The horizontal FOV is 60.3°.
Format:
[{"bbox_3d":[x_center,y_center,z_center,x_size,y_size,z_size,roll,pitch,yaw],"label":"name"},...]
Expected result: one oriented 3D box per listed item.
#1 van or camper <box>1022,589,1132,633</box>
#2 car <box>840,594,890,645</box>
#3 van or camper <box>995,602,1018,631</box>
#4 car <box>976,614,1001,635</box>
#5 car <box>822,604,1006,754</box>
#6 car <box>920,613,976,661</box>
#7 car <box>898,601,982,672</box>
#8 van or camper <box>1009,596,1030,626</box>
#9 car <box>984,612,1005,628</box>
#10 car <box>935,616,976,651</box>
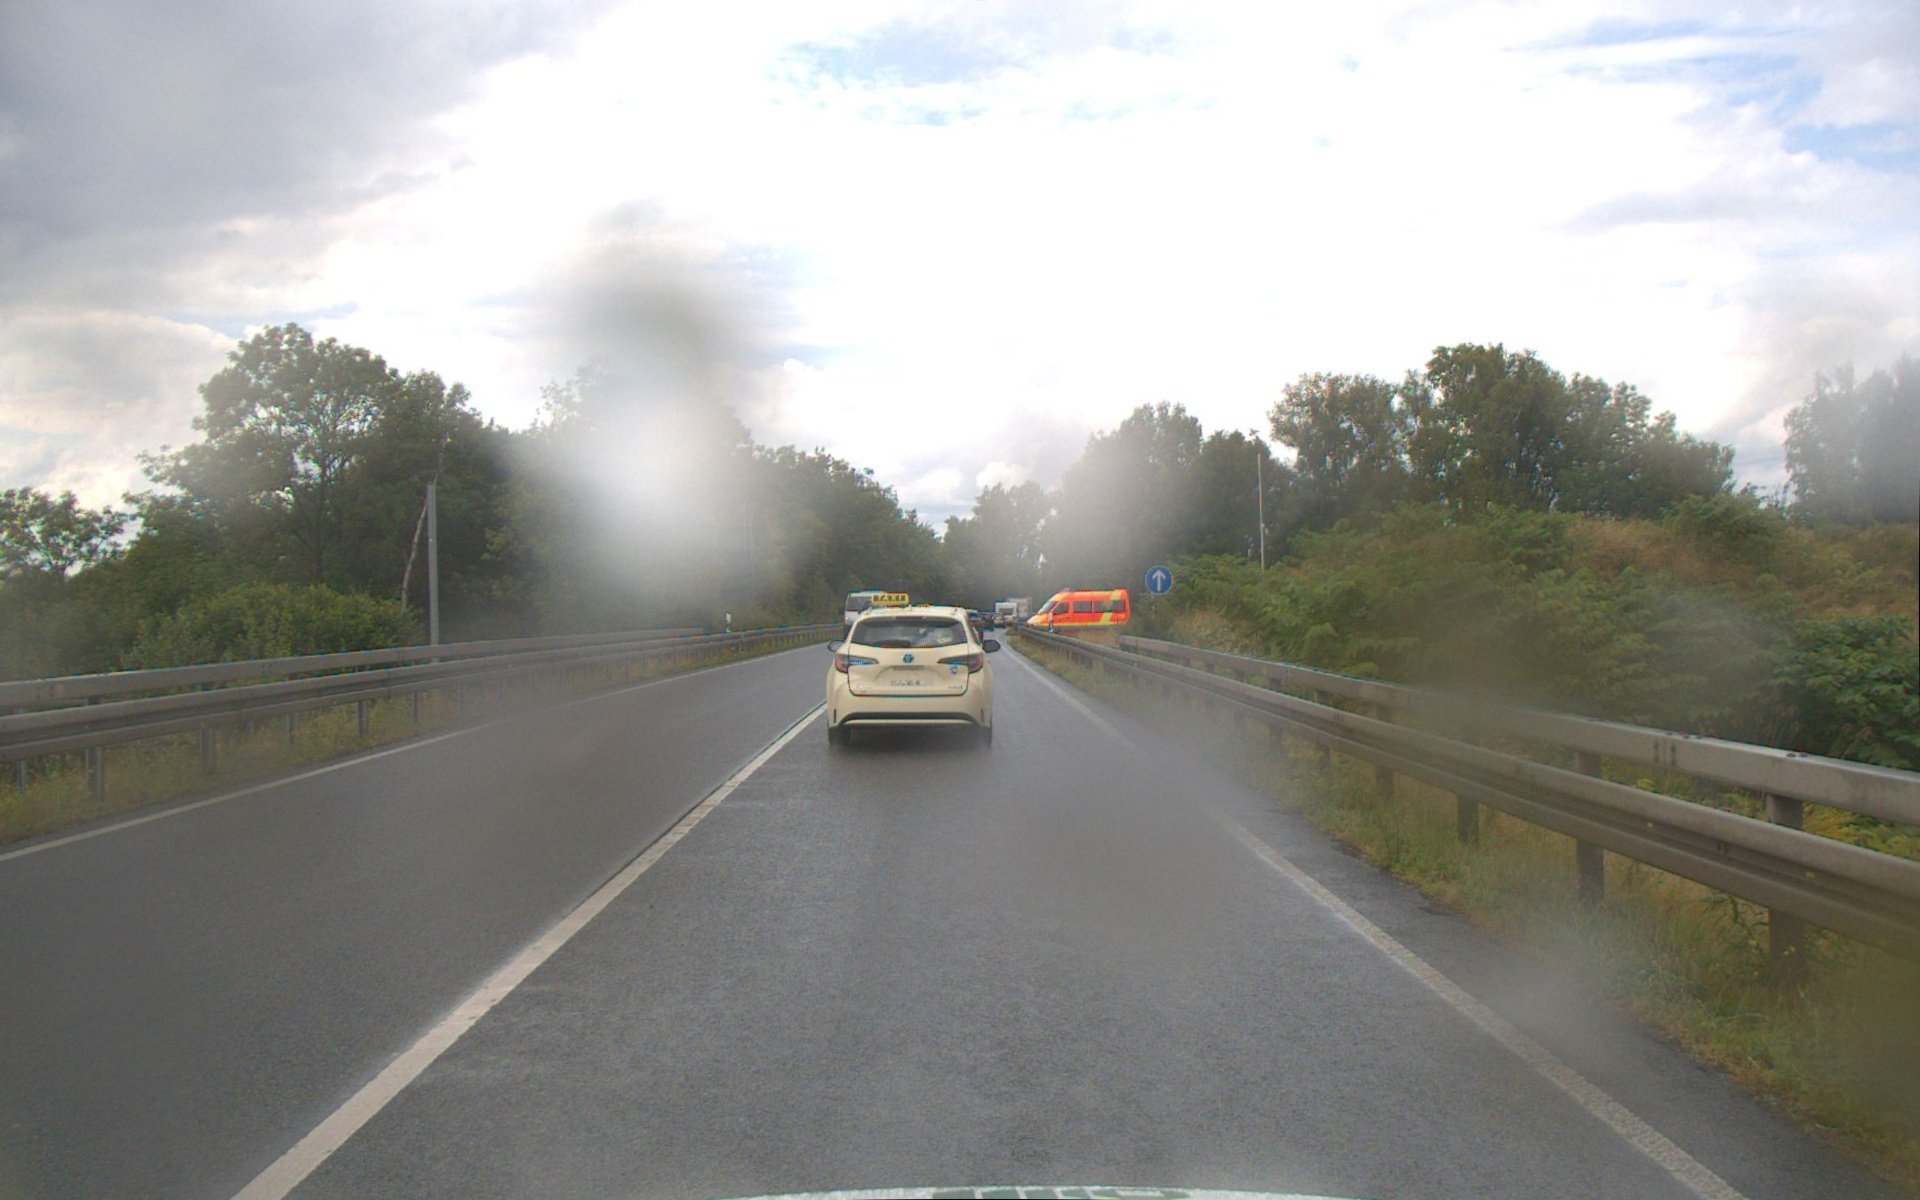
[{"bbox_3d":[6.271,0.576,88.863,5.586,2.281,2.011,0,0,-16],"label":"van or camper"},{"bbox_3d":[-4.156,0.814,72.828,1.953,2.165,4.894,0,0,0],"label":"car"},{"bbox_3d":[4.894,1.691,174.802,2.285,2.914,6.306,0,0,0],"label":"van or camper"},{"bbox_3d":[2.167,1.847,126.319,1.816,1.468,4.172,0,0,2],"label":"car"},{"bbox_3d":[-0.510,0.792,18.485,1.817,1.418,4.170,0,1,-2],"label":"car"},{"bbox_3d":[-0.447,1.244,56.674,1.817,1.468,4.170,0,1,-2],"label":"car"},{"bbox_3d":[-0.486,0.790,37.783,1.817,1.468,4.170,0,1,-2],"label":"car"},{"bbox_3d":[7.190,1.299,200.694,2.285,3.625,6.306,0,0,0],"label":"van or camper"},{"bbox_3d":[3.244,1.851,154.408,1.816,1.468,4.172,0,0,2],"label":"car"},{"bbox_3d":[-0.223,1.526,76.991,1.817,1.468,4.170,0,1,-2],"label":"car"}]
